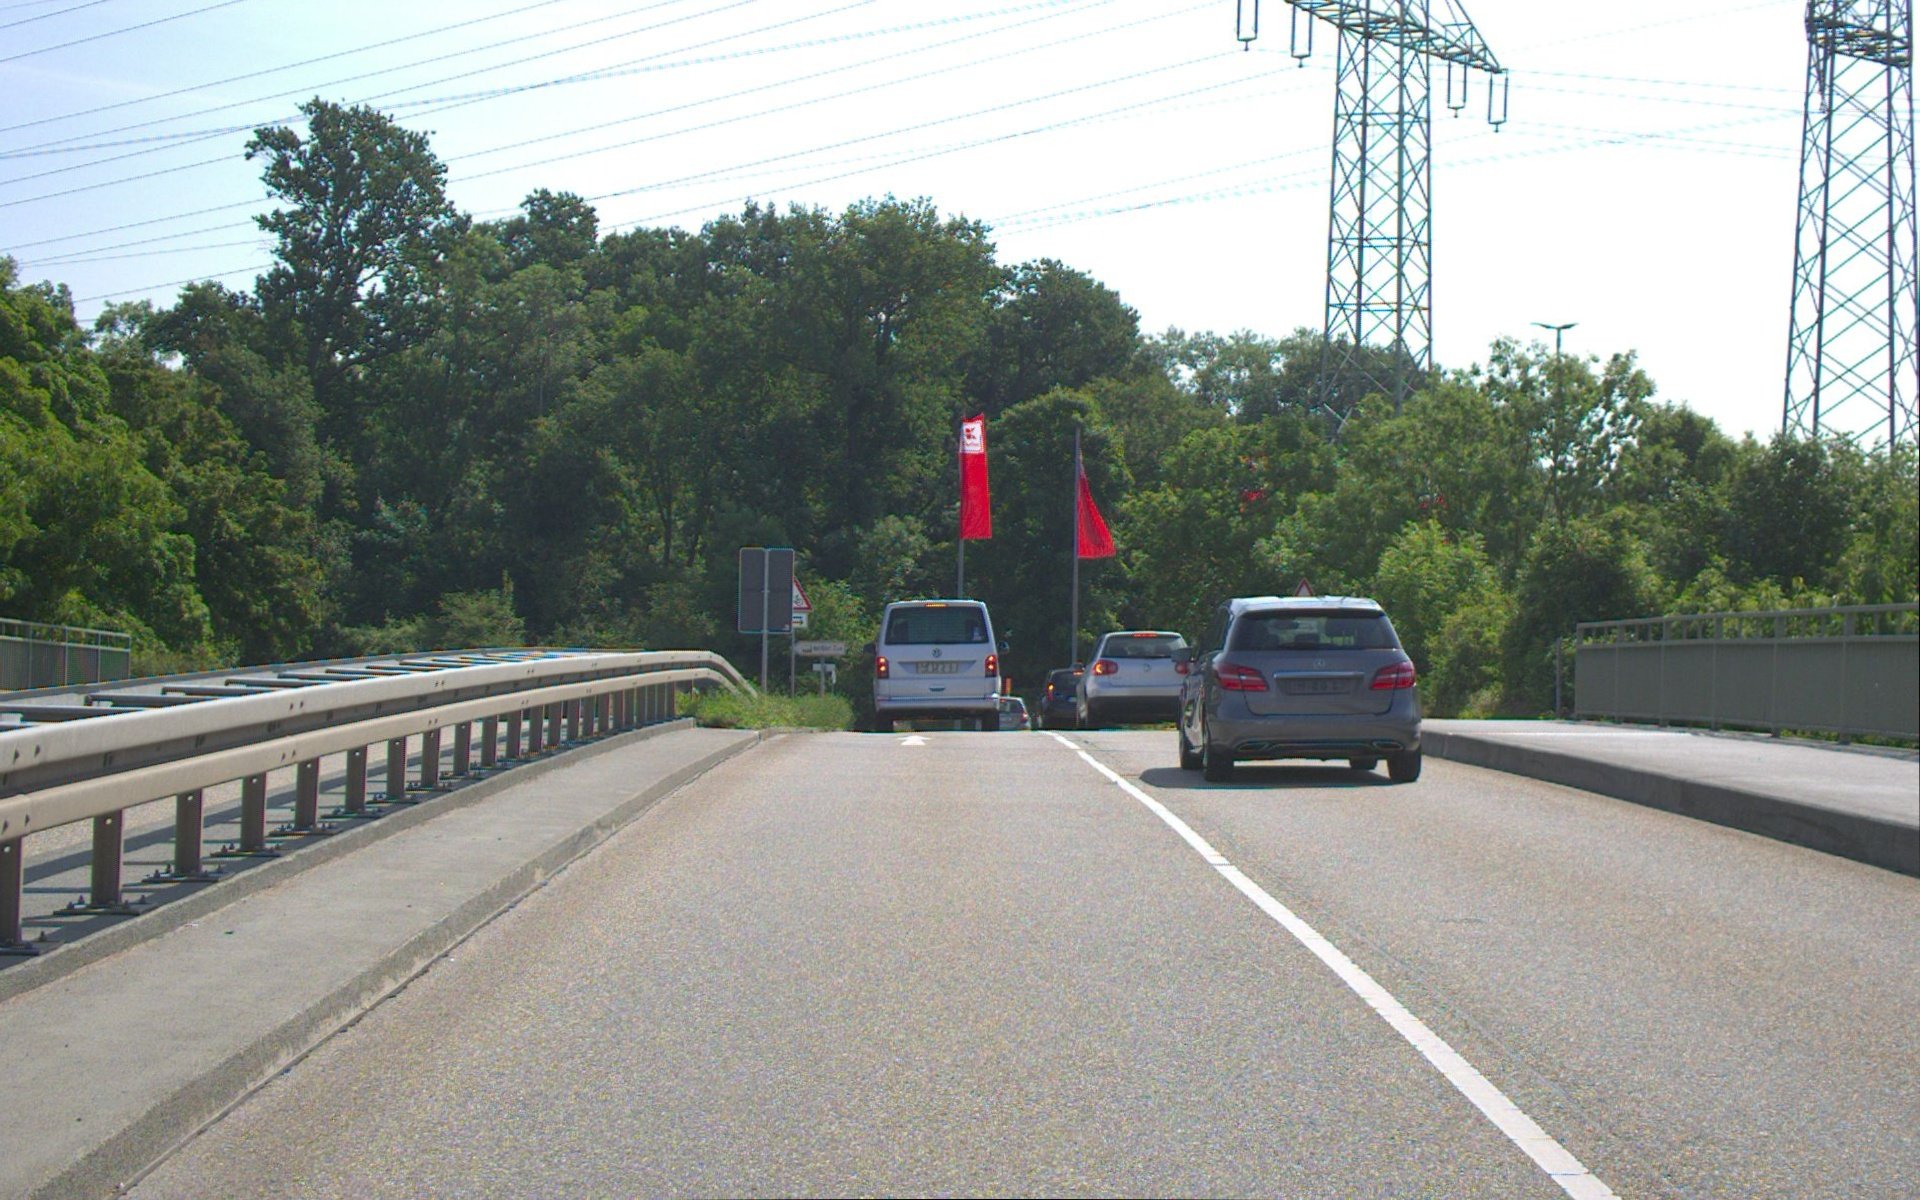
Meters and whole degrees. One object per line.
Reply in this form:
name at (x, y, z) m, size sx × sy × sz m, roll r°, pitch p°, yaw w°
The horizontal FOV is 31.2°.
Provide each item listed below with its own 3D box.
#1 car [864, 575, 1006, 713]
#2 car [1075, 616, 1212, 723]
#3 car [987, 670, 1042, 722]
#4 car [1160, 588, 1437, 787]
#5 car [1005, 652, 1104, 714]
car at (-0.341, 0.667, 52.175) m, size 2.039 × 2.007 × 4.000 m, roll 0°, pitch -1°, yaw 1°
car at (2.702, 1.068, 51.460) m, size 1.856 × 1.524 × 4.143 m, roll 0°, pitch -2°, yaw 1°
car at (1.653, 2.925, 104.833) m, size 1.549 × 1.548 × 3.554 m, roll 1°, pitch -1°, yaw -1°
car at (2.826, 0.687, 29.517) m, size 1.856 × 1.524 × 4.144 m, roll -1°, pitch 1°, yaw -2°
car at (2.204, 1.913, 79.069) m, size 1.774 × 1.327 × 3.739 m, roll 2°, pitch -1°, yaw 9°
